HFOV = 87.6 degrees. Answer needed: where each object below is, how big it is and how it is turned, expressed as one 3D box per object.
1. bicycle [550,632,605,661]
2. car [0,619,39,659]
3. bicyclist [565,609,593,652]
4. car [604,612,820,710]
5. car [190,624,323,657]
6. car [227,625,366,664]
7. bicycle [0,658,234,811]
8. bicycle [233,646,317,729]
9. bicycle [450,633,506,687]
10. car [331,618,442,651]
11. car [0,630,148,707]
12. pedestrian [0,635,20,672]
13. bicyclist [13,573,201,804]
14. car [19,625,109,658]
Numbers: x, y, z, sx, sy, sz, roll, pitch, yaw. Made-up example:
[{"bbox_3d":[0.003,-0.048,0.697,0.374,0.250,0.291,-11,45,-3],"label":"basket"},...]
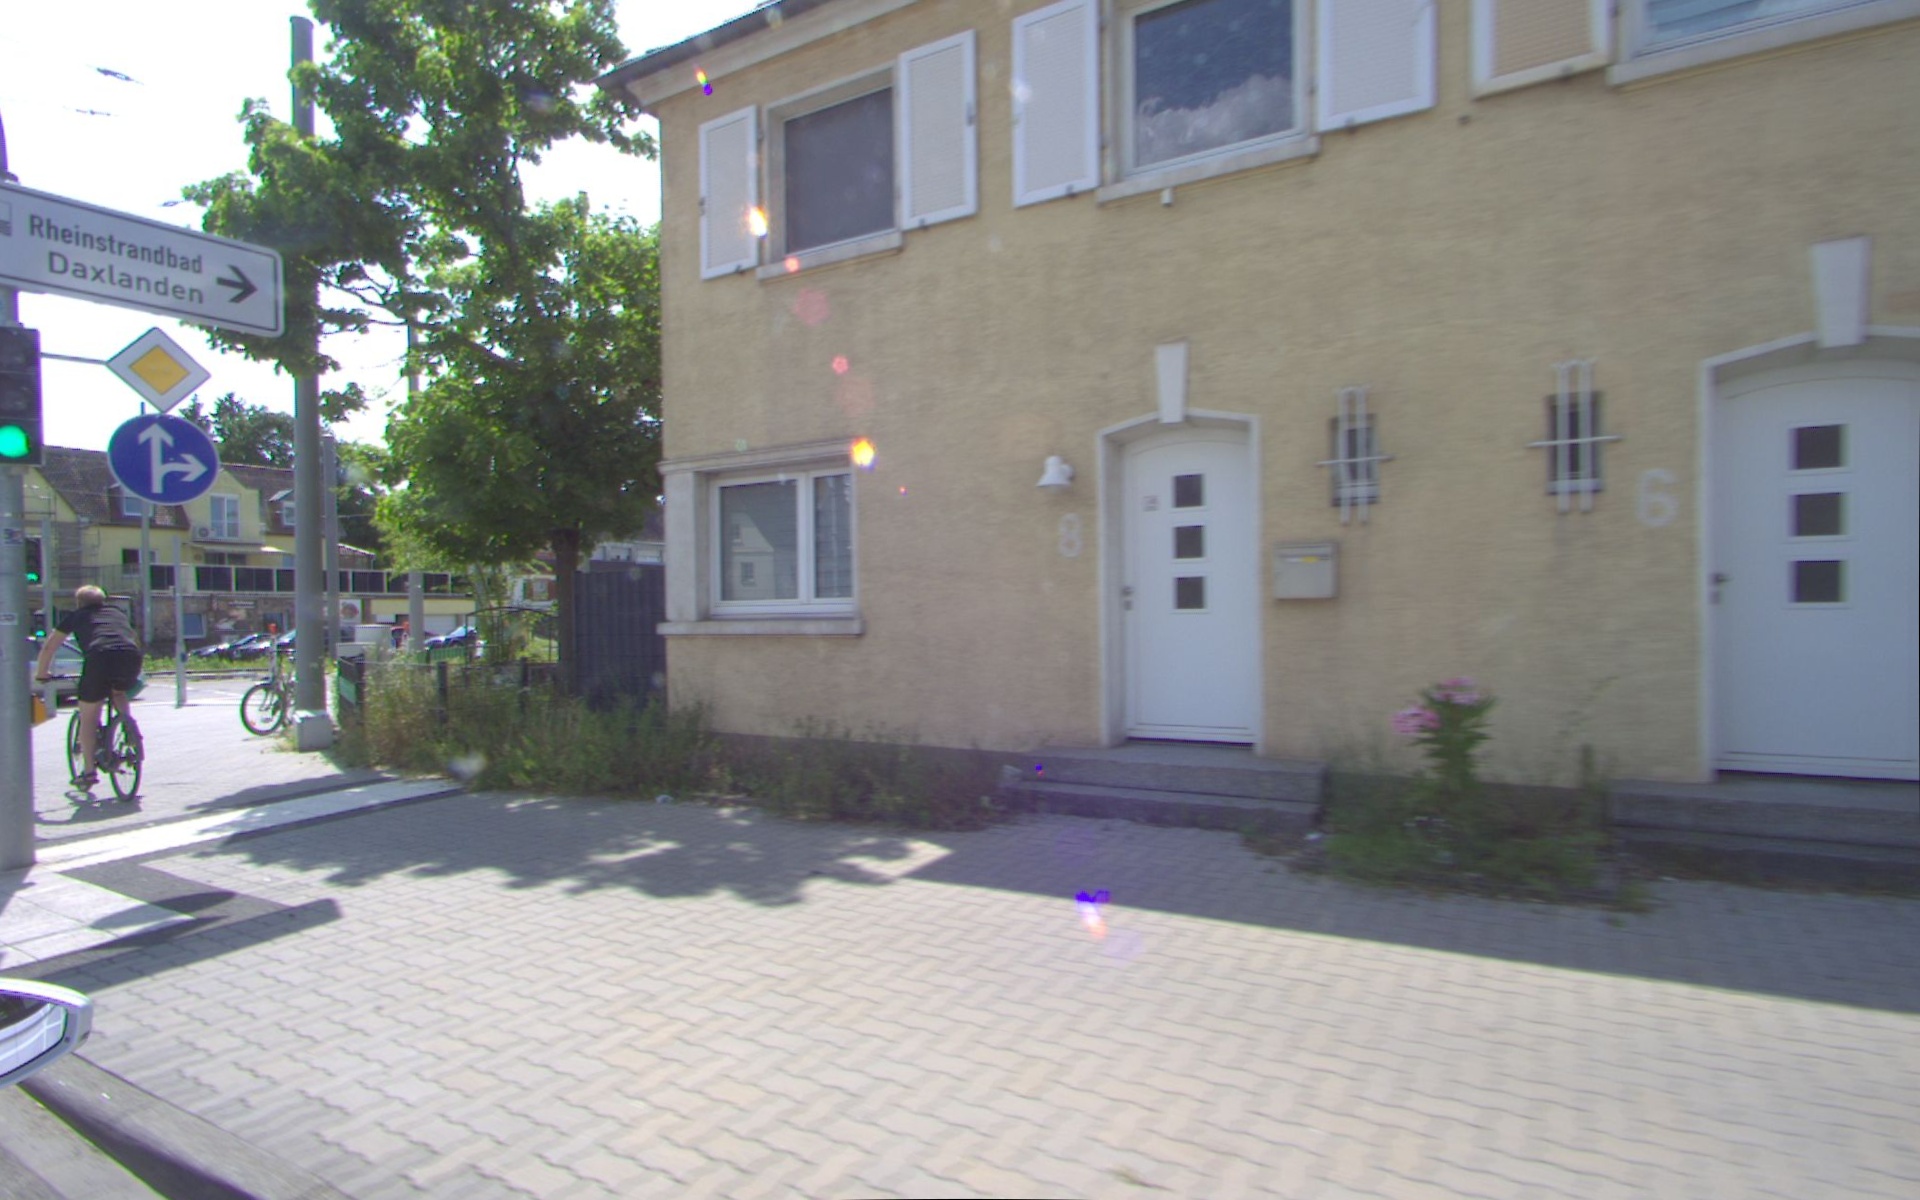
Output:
[{"bbox_3d":[-11.226,1.346,29.431,0.497,0.791,1.578,-1,-1,27],"label":"bicycle"},{"bbox_3d":[-40.145,1.626,41.452,4.073,1.616,1.990,-2,-3,32],"label":"car"},{"bbox_3d":[-11.215,0.893,29.470,0.501,1.250,0.576,-1,0,27],"label":"bicyclist"},{"bbox_3d":[-4.512,1.051,18.874,1.771,1.617,4.106,0,-1,25],"label":"car"},{"bbox_3d":[-29.646,1.714,42.350,1.713,1.325,4.313,-2,-3,28],"label":"car"},{"bbox_3d":[-26.293,1.745,39.854,1.713,1.346,4.310,-2,0,28],"label":"car"},{"bbox_3d":[-7.138,1.073,8.459,1.940,1.090,0.827,-1,1,28],"label":"bicycle"},{"bbox_3d":[-9.145,1.132,13.426,0.455,1.031,1.753,0,-2,-18],"label":"bicycle"},{"bbox_3d":[-10.681,1.315,22.237,0.374,1.152,1.575,-1,-2,4],"label":"bicycle"},{"bbox_3d":[-27.033,1.651,47.354,1.713,1.492,4.313,-2,-3,28],"label":"car"},{"bbox_3d":[-19.169,1.354,20.500,1.702,1.421,4.019,2,-2,1],"label":"car"},{"bbox_3d":[-29.595,1.657,31.097,0.383,1.150,0.487,-1,-2,32],"label":"pedestrian"},{"bbox_3d":[-7.203,0.695,8.473,1.067,1.818,0.827,0,2,28],"label":"bicyclist"},{"bbox_3d":[-38.614,1.805,43.143,4.073,1.368,1.865,-2,-3,32],"label":"car"}]
